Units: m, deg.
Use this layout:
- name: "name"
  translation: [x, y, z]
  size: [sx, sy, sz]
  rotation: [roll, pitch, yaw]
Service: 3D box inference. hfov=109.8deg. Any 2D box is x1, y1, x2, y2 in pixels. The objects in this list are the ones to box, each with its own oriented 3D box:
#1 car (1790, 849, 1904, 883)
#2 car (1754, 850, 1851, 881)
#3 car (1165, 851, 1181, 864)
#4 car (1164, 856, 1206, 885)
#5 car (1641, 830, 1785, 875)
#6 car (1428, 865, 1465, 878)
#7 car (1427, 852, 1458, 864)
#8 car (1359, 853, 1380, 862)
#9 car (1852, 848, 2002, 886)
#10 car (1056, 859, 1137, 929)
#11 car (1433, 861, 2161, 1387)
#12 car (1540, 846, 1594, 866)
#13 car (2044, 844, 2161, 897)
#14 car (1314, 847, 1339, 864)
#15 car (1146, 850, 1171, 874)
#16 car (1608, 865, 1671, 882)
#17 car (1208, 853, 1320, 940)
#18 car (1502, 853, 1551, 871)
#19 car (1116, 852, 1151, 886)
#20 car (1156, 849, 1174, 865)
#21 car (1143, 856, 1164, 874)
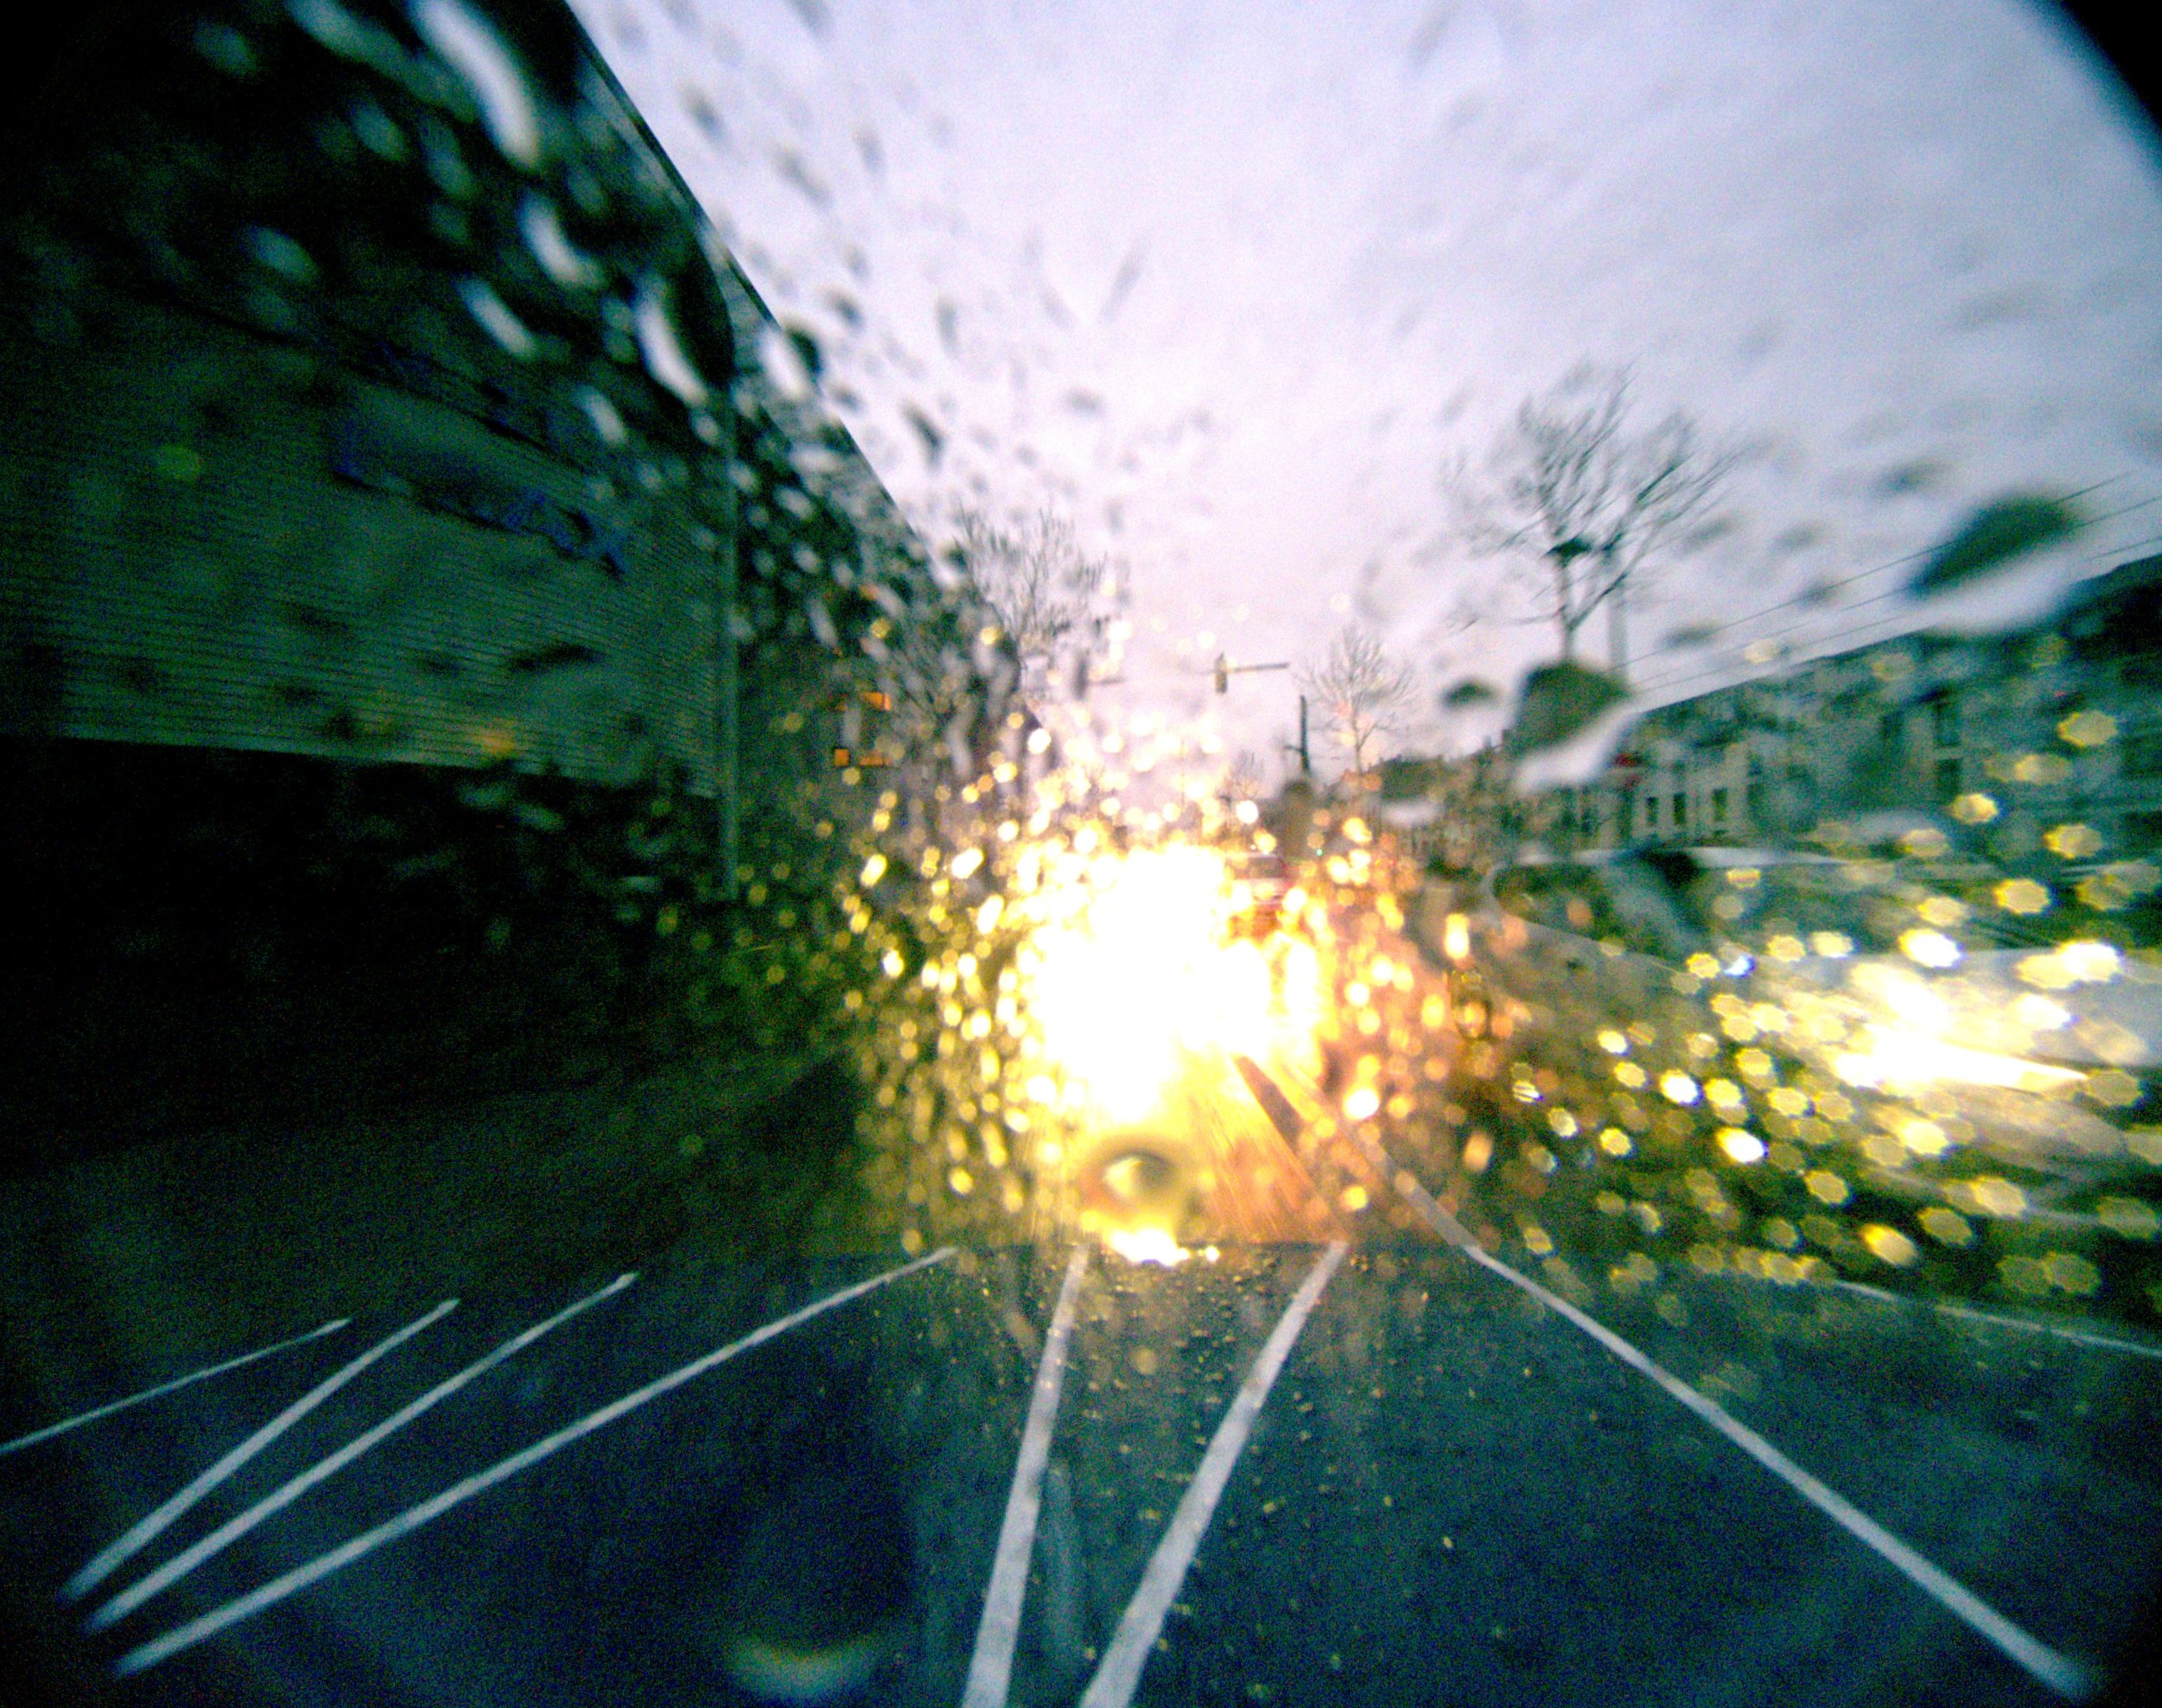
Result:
- name: "car"
  translation: [32.353, 0.523, 32.195]
  size: [3.198, 1.376, 1.316]
  rotation: [-2, -1, 35]
- name: "car"
  translation: [33.037, 0.538, 34.886]
  size: [3.100, 1.376, 1.316]
  rotation: [-2, -1, 37]
- name: "car"
  translation: [12.317, 0.477, 101.741]
  size: [1.729, 1.646, 3.644]
  rotation: [-2, 1, 3]
- name: "car"
  translation: [5.885, 0.913, 43.512]
  size: [1.975, 1.492, 4.092]
  rotation: [-2, 0, 3]
- name: "car"
  translation: [34.104, -0.053, 41.250]
  size: [5.893, 2.242, 1.825]
  rotation: [-2, 1, 37]
- name: "car"
  translation: [33.719, 1.610, 70.086]
  size: [2.810, 1.059, 1.314]
  rotation: [-2, 1, 6]
- name: "car"
  translation: [37.974, 0.387, 79.781]
  size: [2.626, 1.100, 1.255]
  rotation: [-2, 1, 6]
- name: "car"
  translation: [37.809, 0.472, 99.635]
  size: [2.289, 0.981, 1.125]
  rotation: [-2, 1, 7]
- name: "car"
  translation: [32.059, 0.514, 28.942]
  size: [3.599, 1.376, 1.316]
  rotation: [-2, -1, 35]
- name: "car"
  translation: [0.404, 0.911, 18.905]
  size: [1.757, 1.418, 3.804]
  rotation: [-2, 1, 2]
- name: "car"
  translation: [3.757, 0.845, 4.292]
  size: [1.712, 1.457, 4.000]
  rotation: [-2, 1, 1]
- name: "car"
  translation: [34.919, 0.150, 54.652]
  size: [3.197, 1.309, 1.554]
  rotation: [-2, 1, 34]
- name: "car"
  translation: [31.590, 0.467, 22.237]
  size: [4.002, 1.496, 1.316]
  rotation: [-1, 1, 39]
- name: "car"
  translation: [31.202, 0.138, 96.699]
  size: [1.998, 2.002, 4.000]
  rotation: [-2, 1, 1]
- name: "car"
  translation: [5.941, 0.590, 58.767]
  size: [1.729, 1.730, 4.055]
  rotation: [-2, 1, 4]
- name: "car"
  translation: [34.611, 1.192, 47.117]
  size: [3.100, 1.000, 1.189]
  rotation: [-2, -1, 37]
- name: "car"
  translation: [4.050, 0.869, 17.493]
  size: [2.020, 1.667, 4.002]
  rotation: [-2, 1, 7]
- name: "car"
  translation: [35.427, 0.675, 60.423]
  size: [3.197, 1.309, 1.554]
  rotation: [-2, 1, 35]
- name: "car"
  translation: [2.744, 0.800, 40.415]
  size: [1.654, 1.673, 3.685]
  rotation: [-2, -1, 2]
- name: "car"
  translation: [9.118, 0.325, 82.778]
  size: [1.729, 1.646, 3.644]
  rotation: [-2, 1, 3]
- name: "car"
  translation: [6.255, 0.921, 66.094]
  size: [1.595, 1.428, 3.805]
  rotation: [-2, 0, 3]
